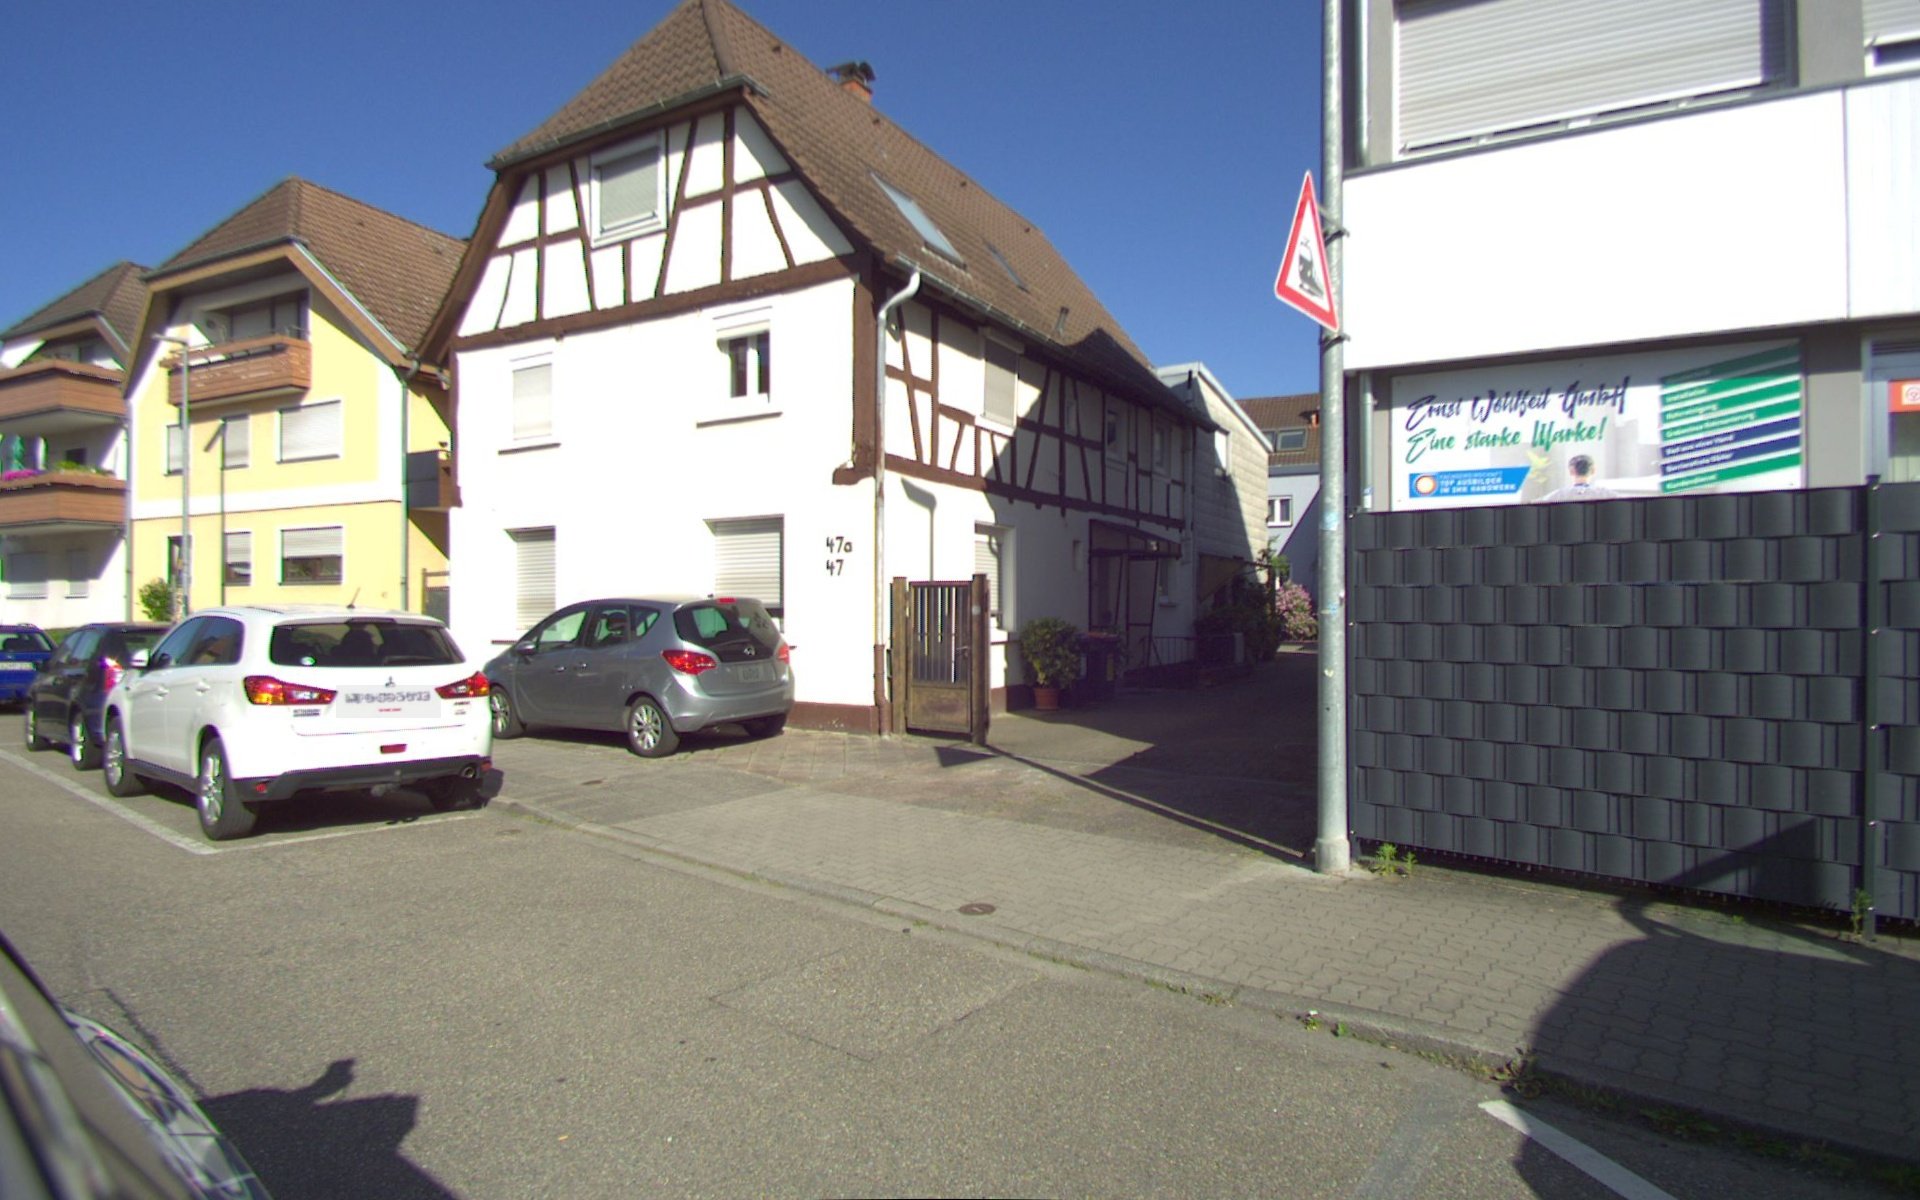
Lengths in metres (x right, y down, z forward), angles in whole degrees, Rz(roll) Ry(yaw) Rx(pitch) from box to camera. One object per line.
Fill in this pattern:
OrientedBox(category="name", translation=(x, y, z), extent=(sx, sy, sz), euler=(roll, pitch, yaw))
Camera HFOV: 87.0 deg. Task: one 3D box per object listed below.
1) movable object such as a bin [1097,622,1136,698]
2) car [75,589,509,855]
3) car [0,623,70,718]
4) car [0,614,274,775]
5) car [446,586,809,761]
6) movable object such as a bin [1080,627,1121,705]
OrientedBox(category="movable object such as a bin", translation=(2.473, 0.940, 15.962), extent=(0.457, 1.169, 0.488), euler=(-1, -1, 30))
OrientedBox(category="car", translation=(-5.510, 0.797, 8.160), extent=(4.106, 1.631, 1.706), euler=(-1, -2, 38))
OrientedBox(category="car", translation=(-16.470, 1.134, 16.931), extent=(3.949, 1.450, 1.603), euler=(-1, -1, 37))
OrientedBox(category="car", translation=(-9.319, 0.937, 11.351), extent=(3.679, 1.519, 1.639), euler=(-1, -2, 38))
OrientedBox(category="car", translation=(-3.741, 0.712, 11.120), extent=(4.100, 1.599, 1.629), euler=(-1, -1, 34))
OrientedBox(category="movable object such as a bin", translation=(2.145, 0.993, 15.413), extent=(0.457, 1.169, 0.488), euler=(-1, -1, 30))
